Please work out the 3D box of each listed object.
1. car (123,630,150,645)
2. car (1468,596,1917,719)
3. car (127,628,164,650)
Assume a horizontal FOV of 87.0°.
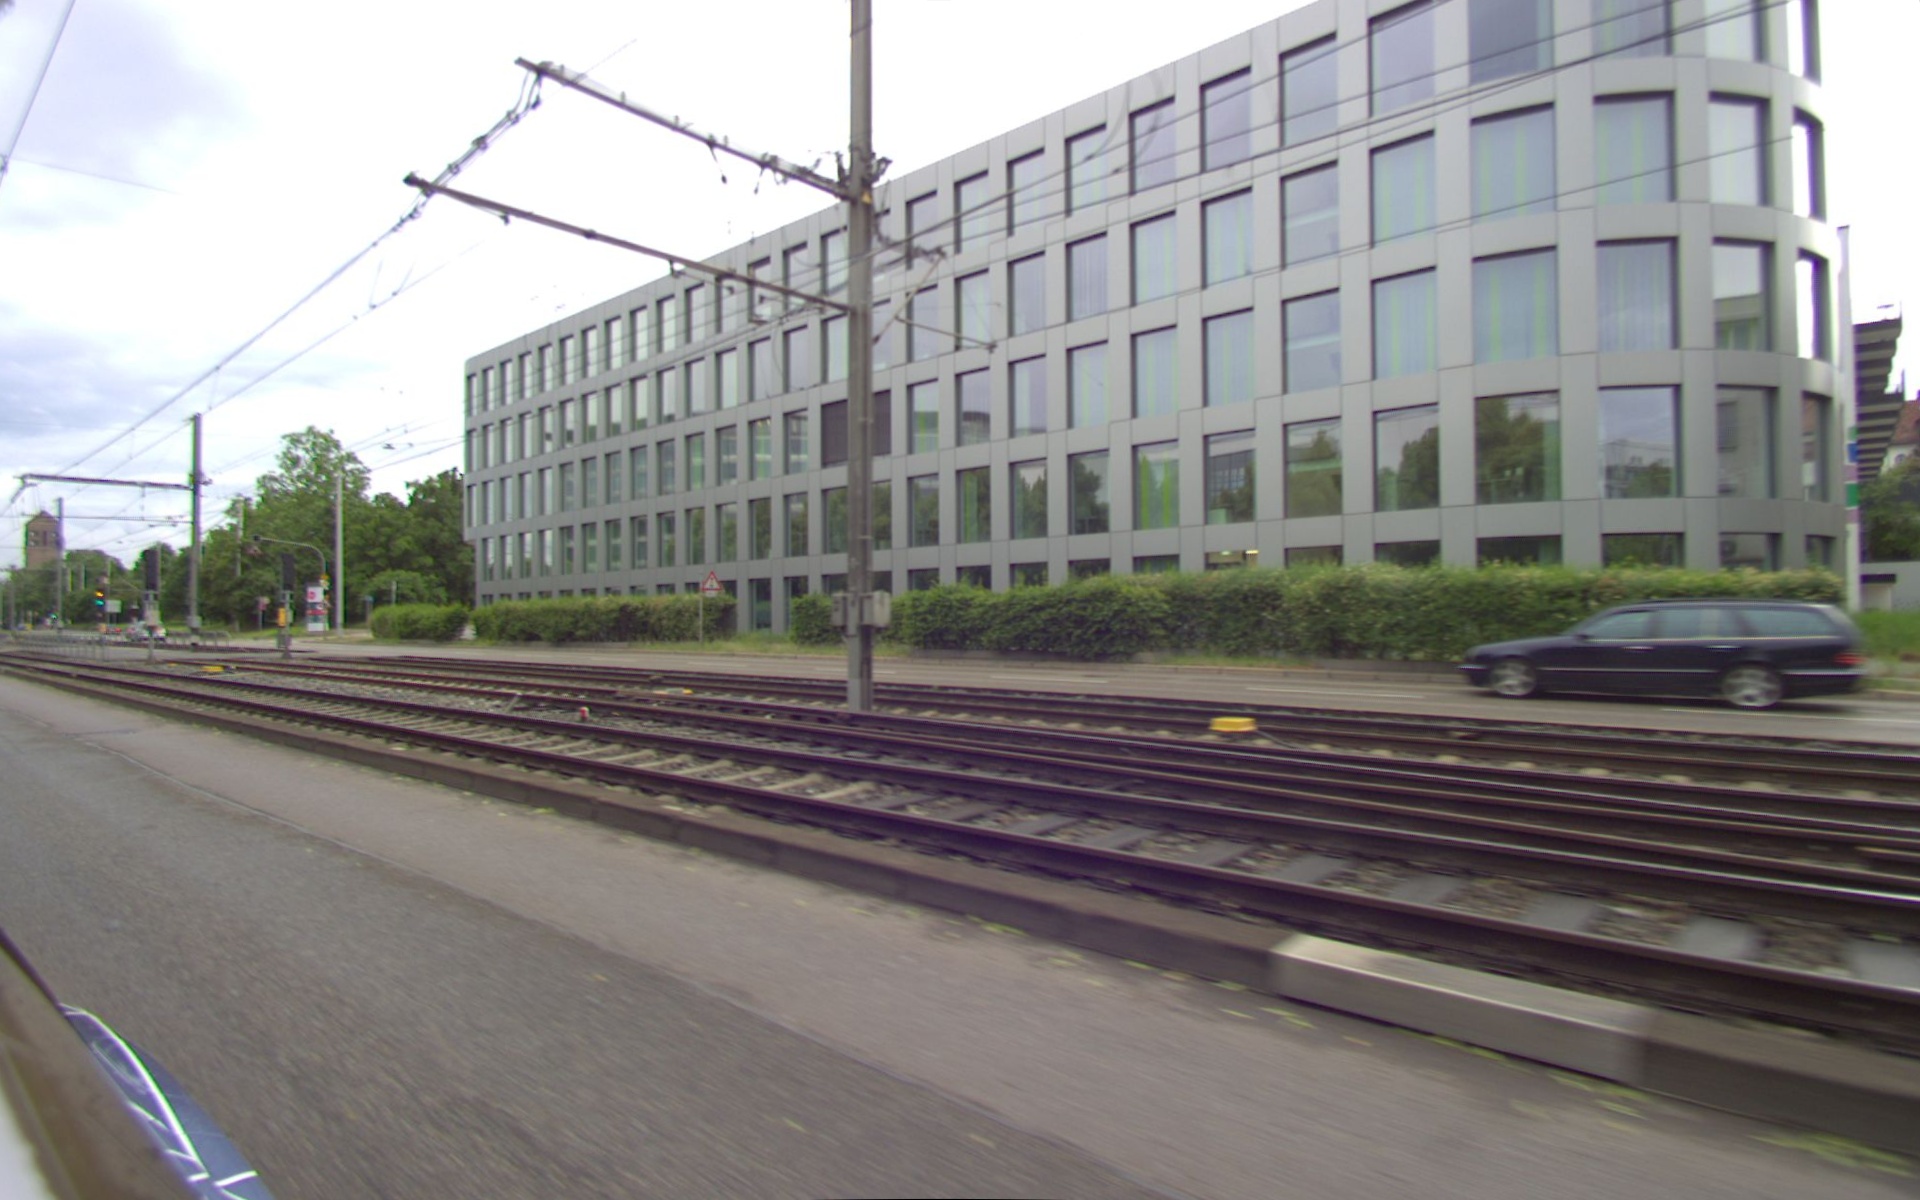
[{"bbox_3d":[-86.900,3.955,106.782,3.563,1.561,1.751,-2,-1,43],"label":"car"},{"bbox_3d":[10.151,0.719,14.395,4.922,1.462,1.885,-1,-1,42],"label":"car"},{"bbox_3d":[-64.782,3.083,80.467,3.562,1.649,1.788,-2,-1,42],"label":"car"}]
